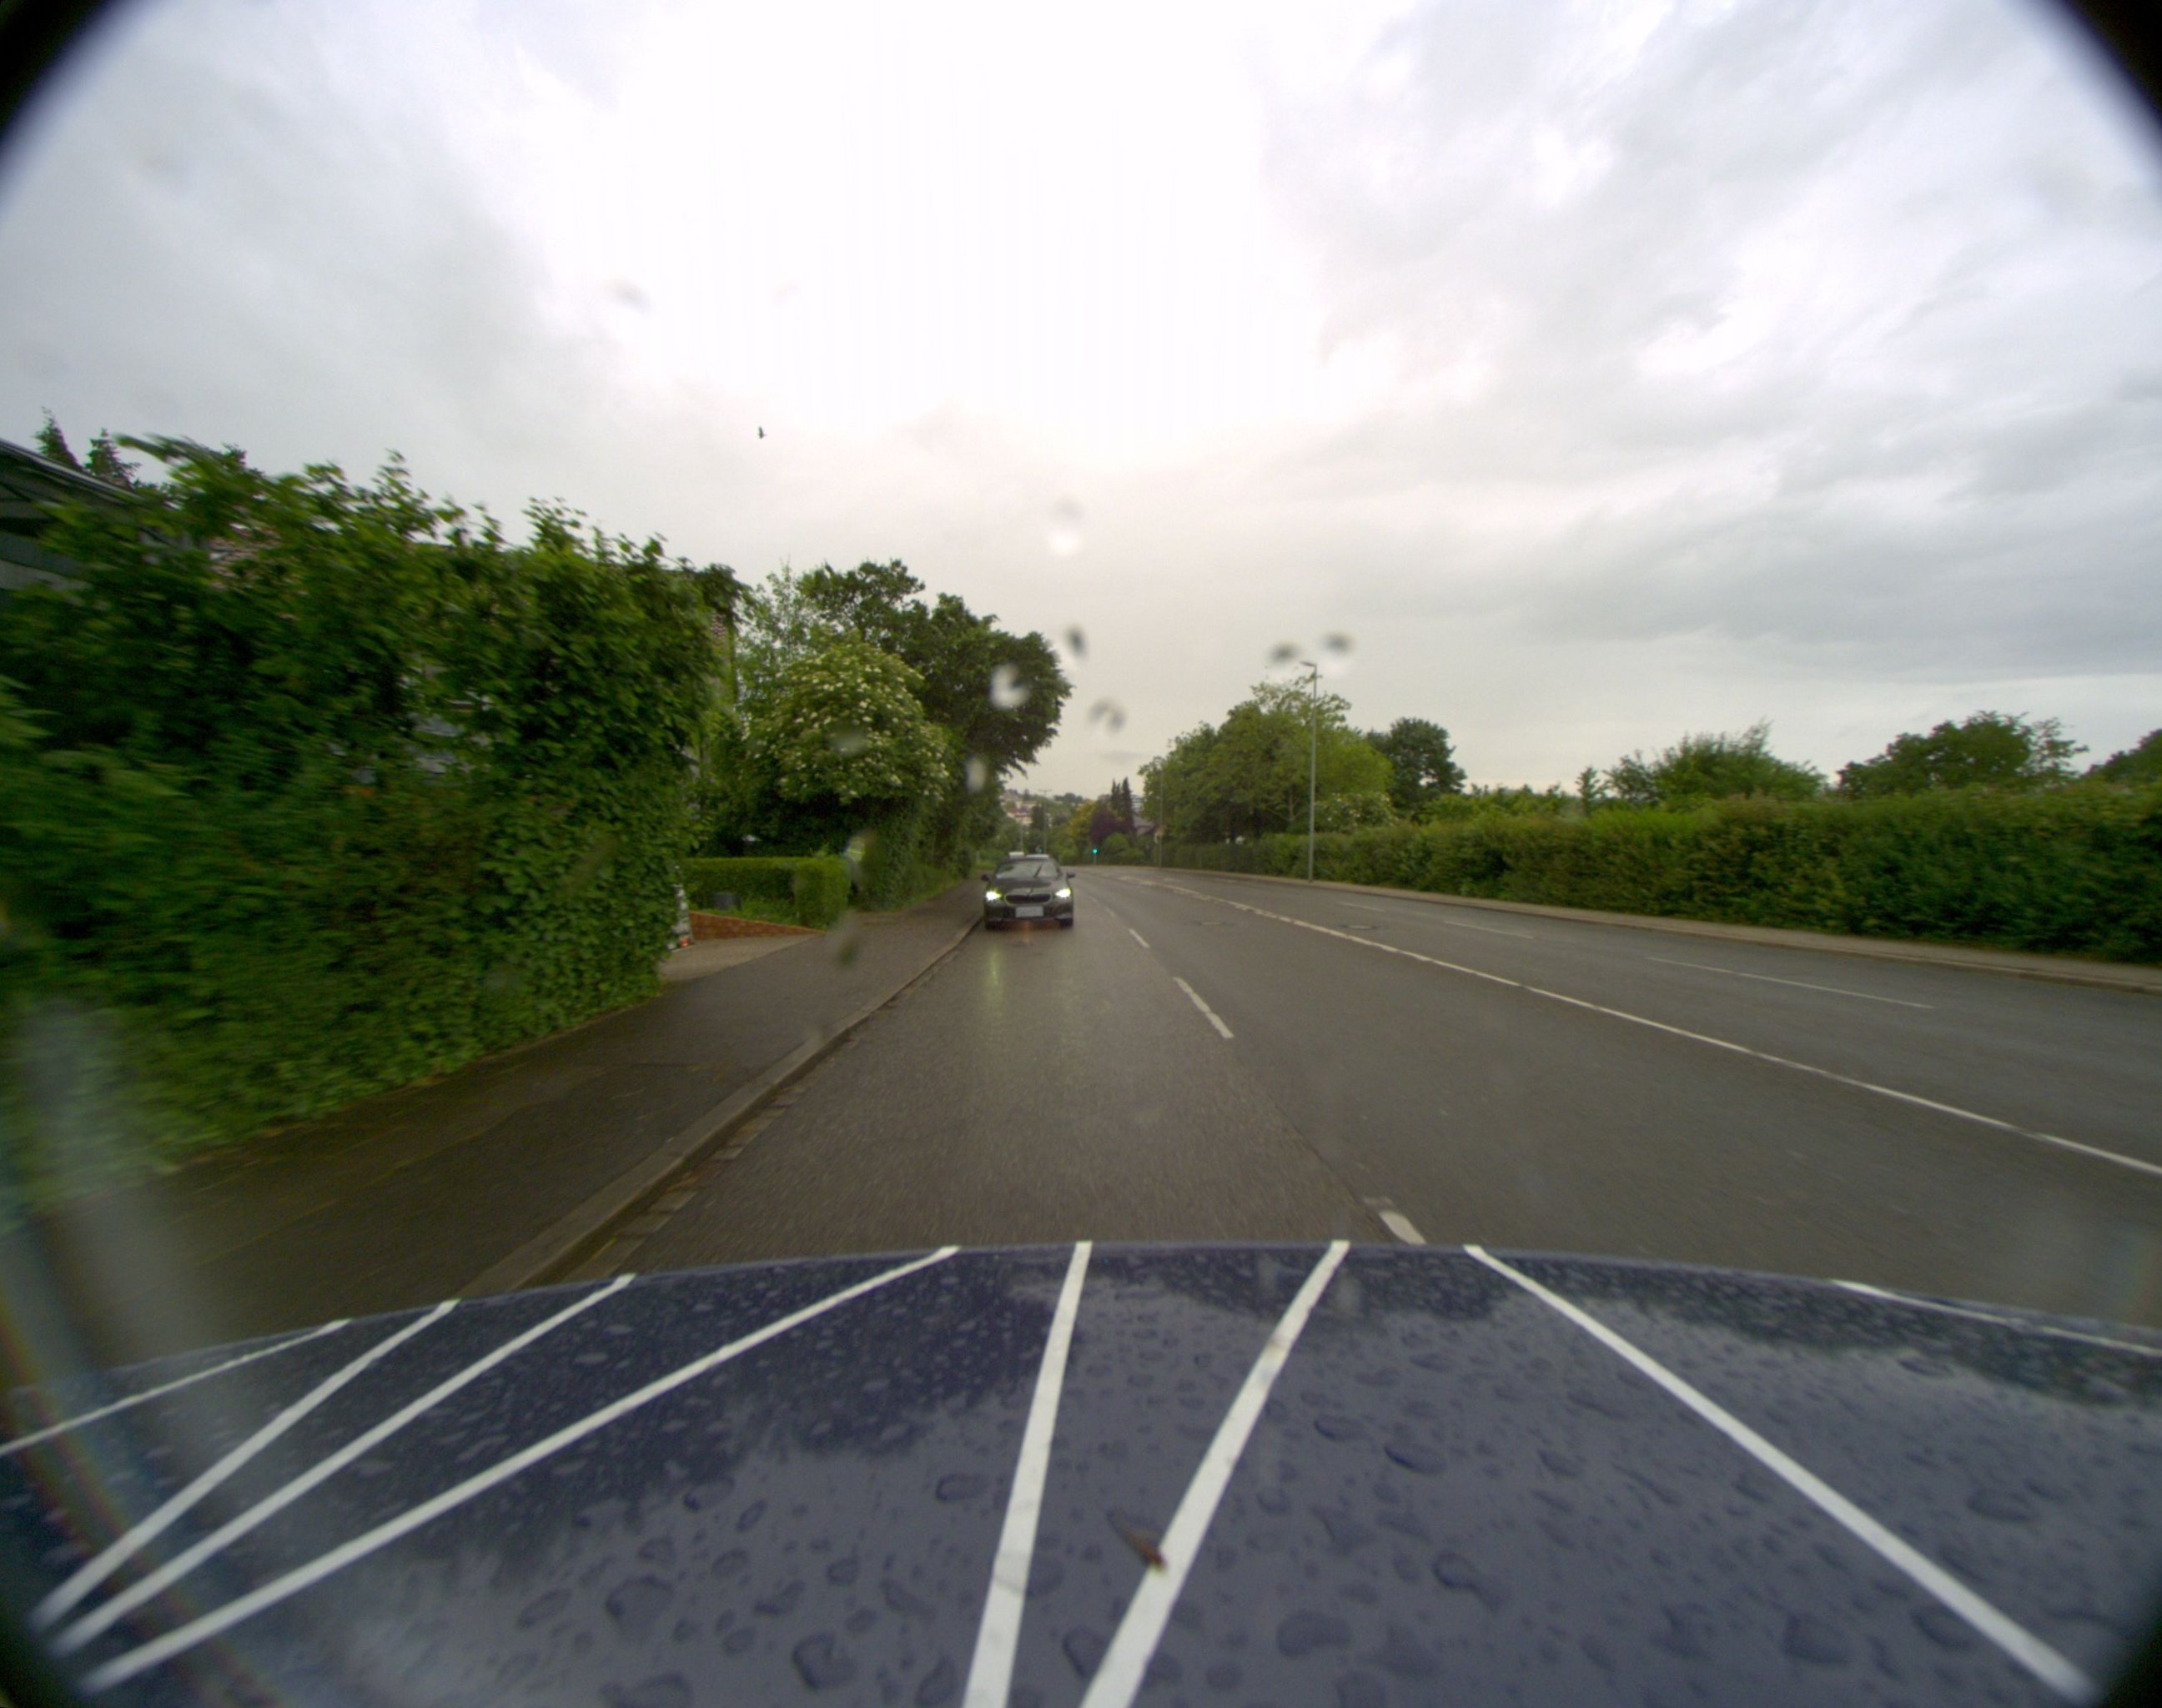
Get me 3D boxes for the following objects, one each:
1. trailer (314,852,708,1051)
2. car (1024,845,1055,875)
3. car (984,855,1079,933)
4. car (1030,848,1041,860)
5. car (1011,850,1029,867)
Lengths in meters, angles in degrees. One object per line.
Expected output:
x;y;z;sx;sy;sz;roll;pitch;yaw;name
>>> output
-6.082;0.977;8.394;2.988;1.561;1.488;-8;2;-2;trailer
-2.213;0.255;40.090;1.551;1.505;4.281;0;1;-4;car
-1.066;0.805;17.436;1.846;1.371;4.281;-3;1;-2;car
-7.114;-0.050;119.203;1.551;1.812;4.280;0;1;-5;car
-6.139;0.406;76.512;1.704;1.670;4.280;0;1;-6;car
